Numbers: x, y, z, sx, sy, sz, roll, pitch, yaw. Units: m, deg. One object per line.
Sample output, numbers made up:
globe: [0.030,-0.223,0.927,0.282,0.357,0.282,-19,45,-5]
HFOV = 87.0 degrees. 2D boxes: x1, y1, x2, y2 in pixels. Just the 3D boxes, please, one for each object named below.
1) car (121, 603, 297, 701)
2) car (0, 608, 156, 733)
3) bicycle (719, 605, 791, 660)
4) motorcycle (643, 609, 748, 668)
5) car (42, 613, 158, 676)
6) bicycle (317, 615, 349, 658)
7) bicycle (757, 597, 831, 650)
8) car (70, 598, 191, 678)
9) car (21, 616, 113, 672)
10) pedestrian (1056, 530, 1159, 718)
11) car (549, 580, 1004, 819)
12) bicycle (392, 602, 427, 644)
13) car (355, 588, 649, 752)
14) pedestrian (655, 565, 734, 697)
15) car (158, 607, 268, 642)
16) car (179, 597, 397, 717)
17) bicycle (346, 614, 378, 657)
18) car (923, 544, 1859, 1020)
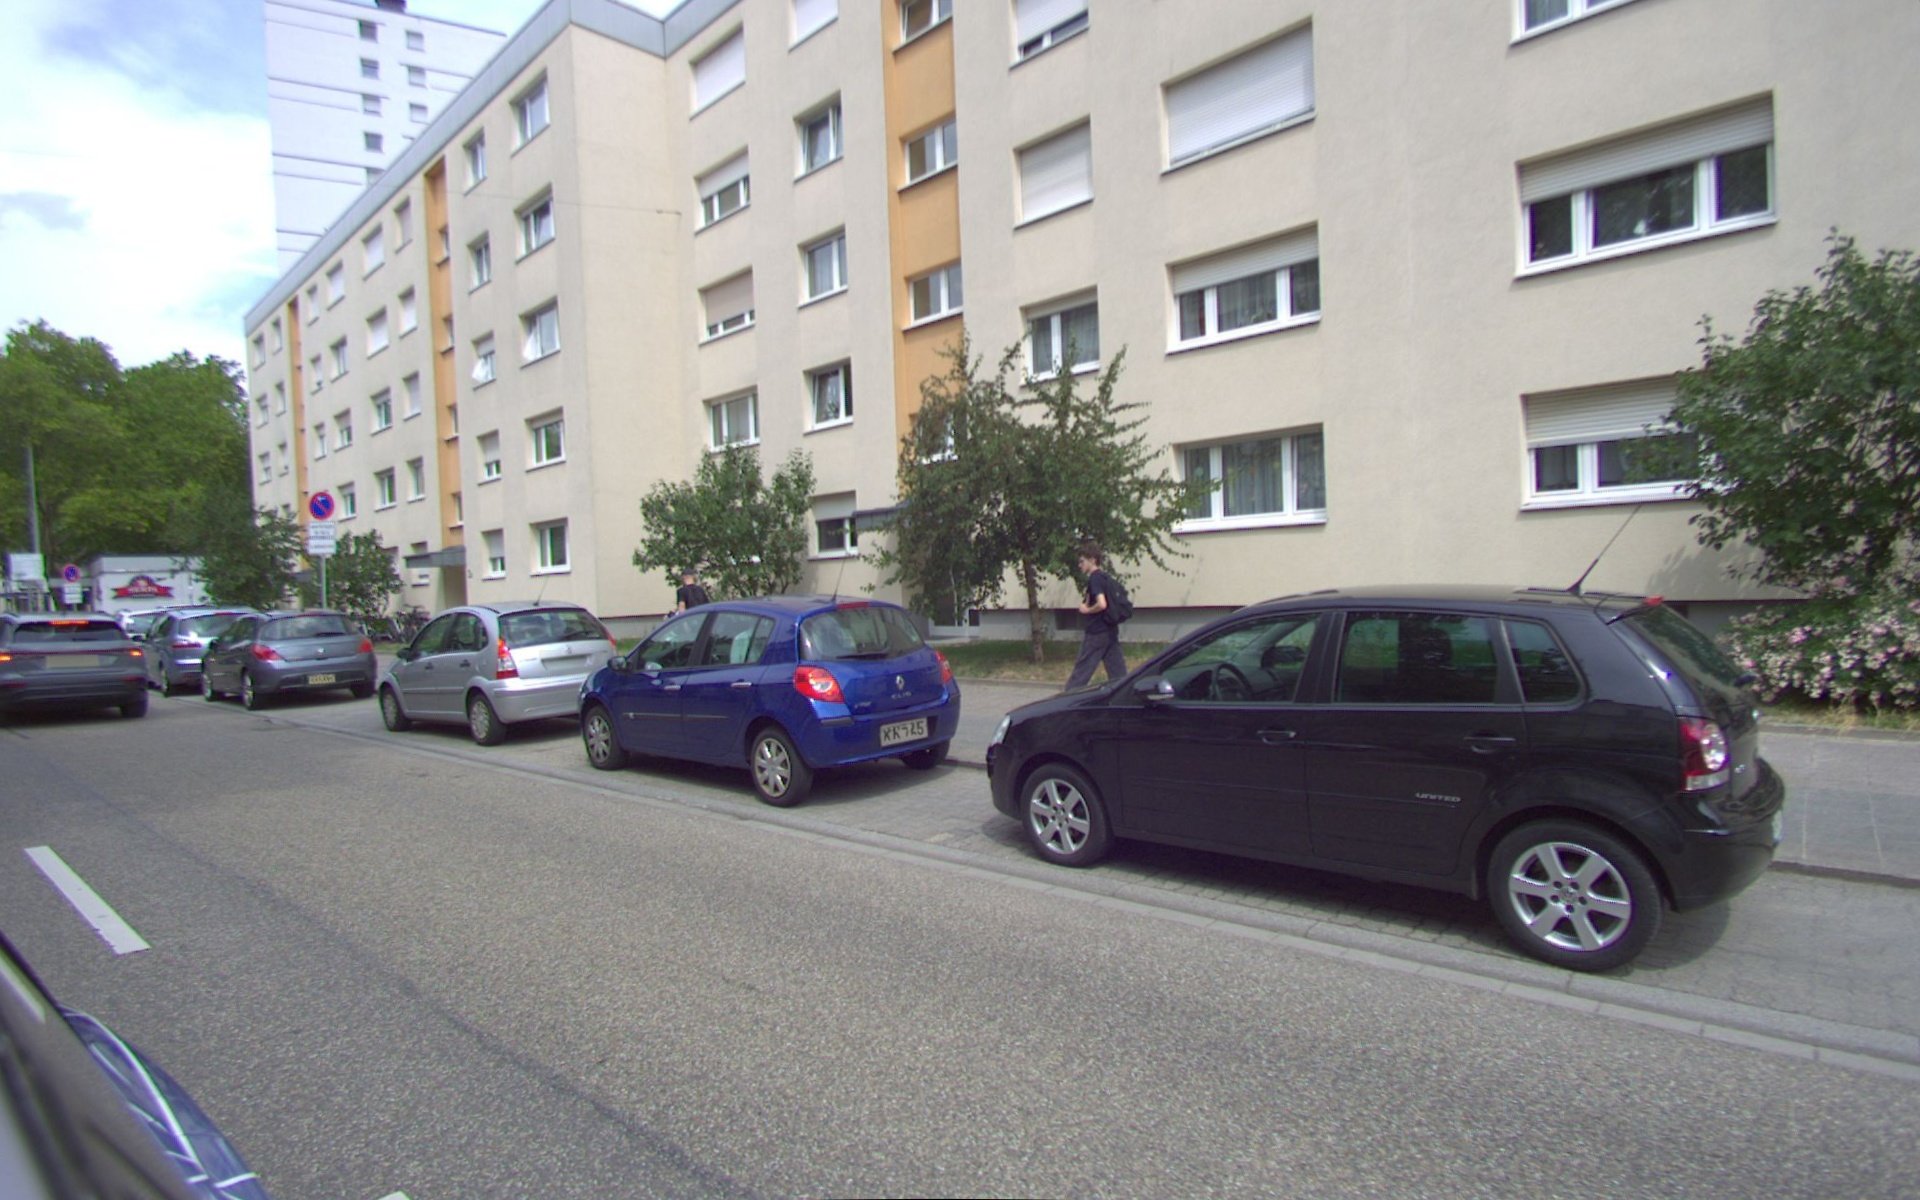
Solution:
car: [-15.168,0.968,20.330,4.861,1.624,1.922,-1,2,43]
car: [-13.817,0.976,15.289,4.433,1.597,1.799,-2,0,41]
bicycle: [-3.954,0.627,19.436,1.615,0.993,0.435,-2,2,41]
motorcycle: [-4.903,0.699,18.637,2.316,0.993,0.655,-2,2,41]
car: [-23.582,1.178,27.715,3.985,1.483,1.692,-2,2,40]
bicycle: [-19.295,1.113,31.145,0.571,1.260,1.937,-3,0,-38]
bicycle: [-3.289,0.461,19.918,1.673,0.993,0.435,-2,2,41]
car: [-19.732,0.853,24.004,4.479,1.624,1.678,-1,2,44]
car: [-27.584,1.325,31.223,3.989,1.483,1.690,-1,2,43]
pedestrian: [1.504,0.237,10.326,0.803,1.826,0.613,-2,0,39]
car: [-1.710,0.679,8.620,3.885,1.494,1.798,-2,2,43]
bicycle: [-17.635,0.748,32.376,0.549,1.260,1.920,-3,0,-40]
car: [-5.558,0.742,12.092,3.849,1.573,1.653,-2,2,40]
pedestrian: [-3.860,0.437,14.703,0.898,1.826,0.613,-2,2,39]
car: [-40.238,1.298,54.574,4.576,1.699,1.851,-1,0,-43]
car: [-11.236,0.863,16.814,4.300,1.624,1.922,-2,2,42]
bicycle: [-18.685,1.101,31.599,0.529,1.260,2.049,-3,0,-38]
car: [1.925,0.589,5.298,4.116,1.494,1.799,-2,2,43]
